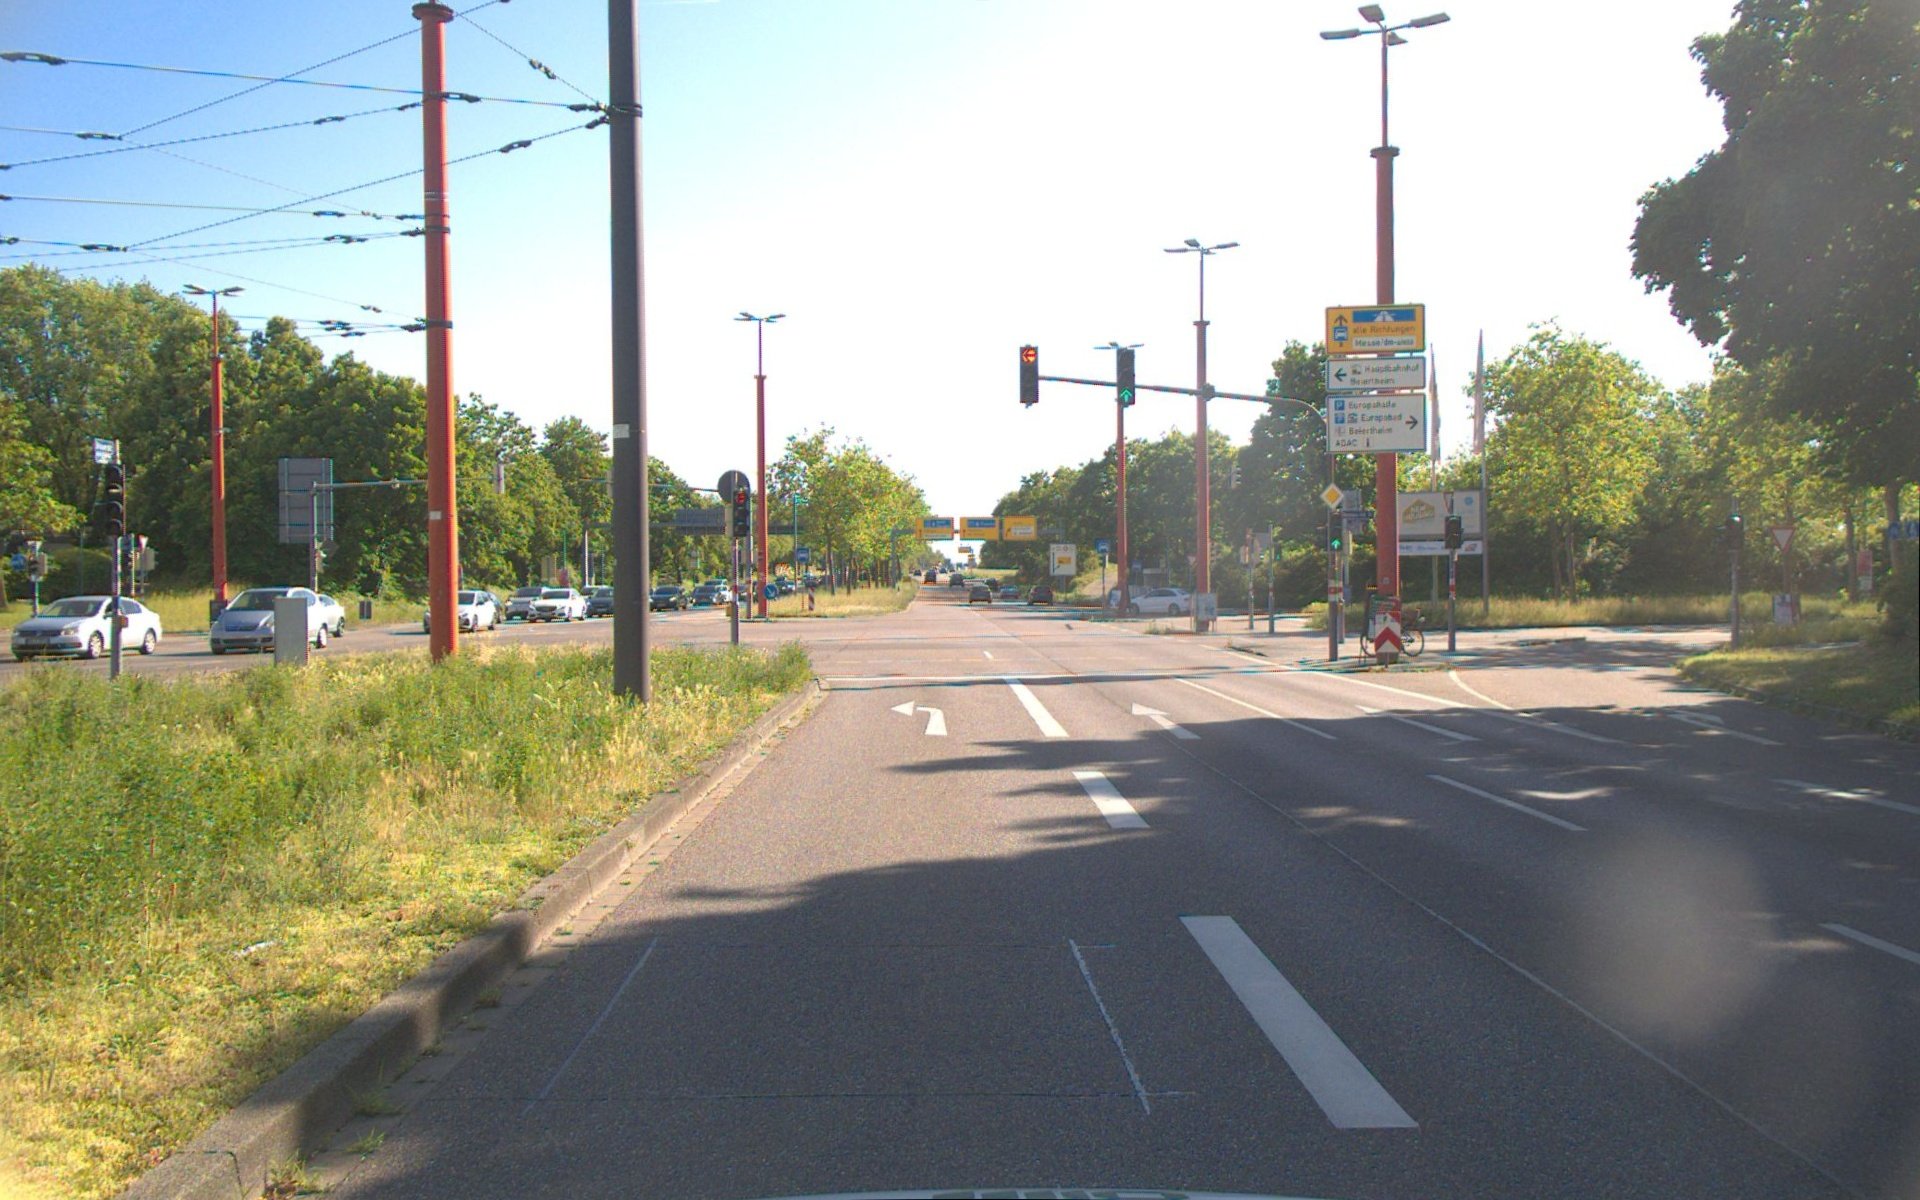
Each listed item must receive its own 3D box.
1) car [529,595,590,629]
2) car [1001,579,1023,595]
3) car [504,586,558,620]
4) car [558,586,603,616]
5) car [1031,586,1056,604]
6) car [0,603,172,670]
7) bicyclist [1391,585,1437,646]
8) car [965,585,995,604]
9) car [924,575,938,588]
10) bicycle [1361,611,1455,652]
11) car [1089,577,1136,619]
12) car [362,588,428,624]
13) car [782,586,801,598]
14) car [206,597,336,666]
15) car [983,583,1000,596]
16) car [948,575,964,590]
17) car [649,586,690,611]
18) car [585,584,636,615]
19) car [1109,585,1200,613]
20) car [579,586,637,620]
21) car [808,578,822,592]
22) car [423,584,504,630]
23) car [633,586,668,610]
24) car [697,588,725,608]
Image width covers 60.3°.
[{"bbox_3d":[-17.818,0.510,73.767,1.669,1.448,4.642,-1,0,-1],"label":"car"},{"bbox_3d":[4.985,-1.237,158.465,1.953,1.567,3.999,1,0,-1],"label":"car"},{"bbox_3d":[-21.539,0.144,83.142,1.838,1.603,3.998,1,0,-3],"label":"car"},{"bbox_3d":[-22.644,0.058,98.776,1.764,1.737,4.059,-1,0,-1],"label":"car"},{"bbox_3d":[6.365,-0.386,126.573,1.703,1.365,3.081,0,0,-1],"label":"car"},{"bbox_3d":[-21.044,0.826,39.852,1.953,1.457,4.692,-1,0,-2],"label":"car"},{"bbox_3d":[10.182,0.344,37.098,0.731,1.365,0.701,1,0,-27],"label":"bicyclist"},{"bbox_3d":[1.564,-0.448,130.781,1.955,1.523,3.996,0,0,-5],"label":"car"},{"bbox_3d":[-4.492,-2.821,254.169,1.954,2.049,3.998,1,0,-3],"label":"car"},{"bbox_3d":[10.031,0.710,37.024,2.132,0.894,0.556,1,0,-23],"label":"bicycle"},{"bbox_3d":[7.179,-0.099,77.423,1.951,1.920,4.003,0,0,8],"label":"car"},{"bbox_3d":[-27.364,0.280,80.194,1.874,1.651,3.999,1,0,-1],"label":"car"},{"bbox_3d":[-19.292,-0.964,189.537,1.964,1.330,3.997,0,0,-4],"label":"car"},{"bbox_3d":[-17.331,0.755,41.783,1.727,1.636,3.757,-1,0,0],"label":"car"},{"bbox_3d":[4.007,-1.298,209.333,1.953,1.567,3.999,0,0,-1],"label":"car"},{"bbox_3d":[-0.544,-2.438,230.760,2.111,2.049,3.999,0,0,-1],"label":"car"},{"bbox_3d":[-17.752,-0.083,101.276,1.838,1.511,4.603,1,0,-3],"label":"car"},{"bbox_3d":[-19.403,-0.040,91.931,1.800,1.629,4.438,-1,0,1],"label":"car"},{"bbox_3d":[10.034,-0.057,85.589,4.315,1.395,2.048,0,1,43],"label":"car"},{"bbox_3d":[-17.909,0.137,84.281,1.952,1.622,4.464,-1,0,1],"label":"car"},{"bbox_3d":[-19.648,-2.027,223.870,1.592,1.769,4.000,0,1,-1],"label":"car"},{"bbox_3d":[-17.665,0.227,59.042,1.556,1.498,4.183,-2,1,0],"label":"car"},{"bbox_3d":[-21.459,-0.118,114.673,1.838,1.603,3.998,1,0,-3],"label":"car"},{"bbox_3d":[-18.145,-0.185,120.809,1.517,1.401,4.261,0,0,-2],"label":"car"}]
